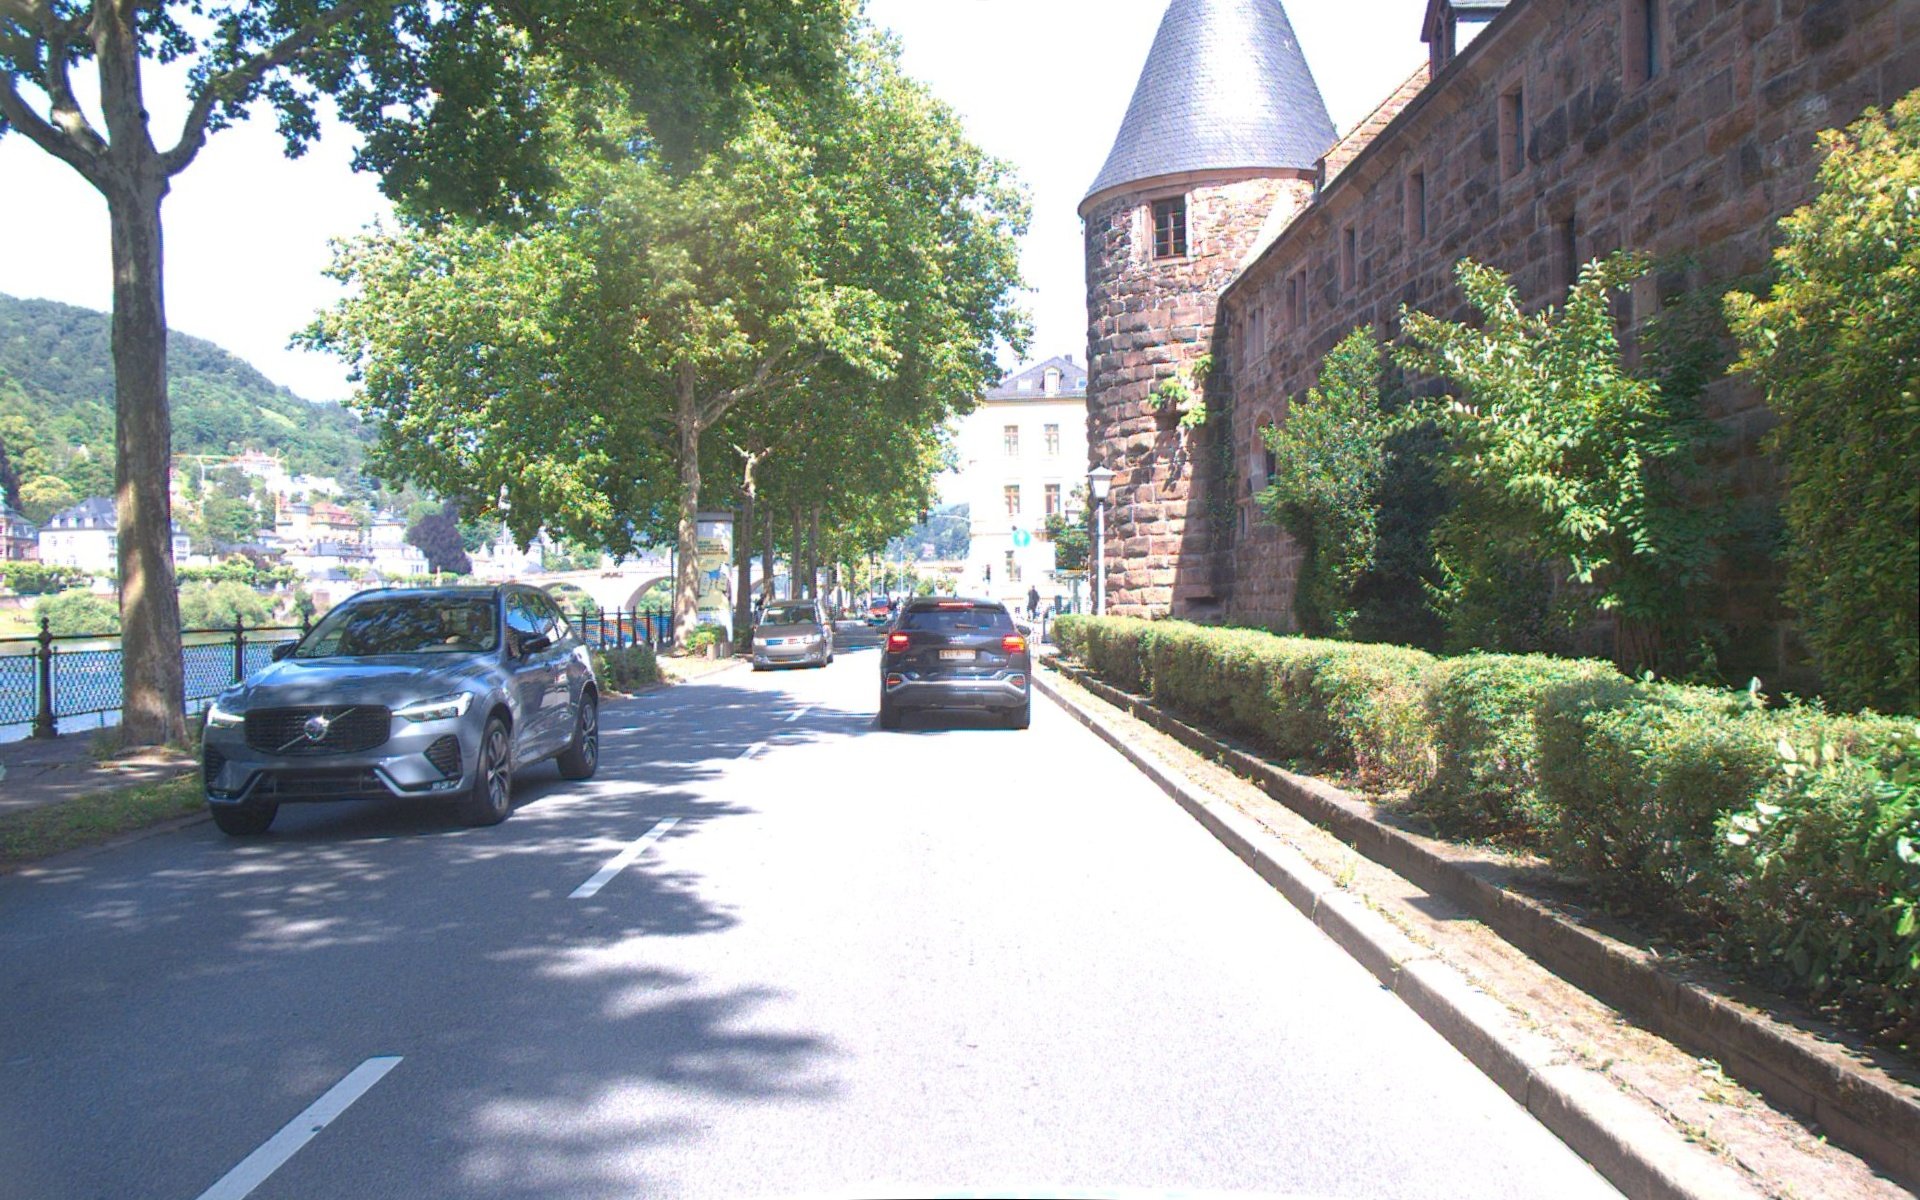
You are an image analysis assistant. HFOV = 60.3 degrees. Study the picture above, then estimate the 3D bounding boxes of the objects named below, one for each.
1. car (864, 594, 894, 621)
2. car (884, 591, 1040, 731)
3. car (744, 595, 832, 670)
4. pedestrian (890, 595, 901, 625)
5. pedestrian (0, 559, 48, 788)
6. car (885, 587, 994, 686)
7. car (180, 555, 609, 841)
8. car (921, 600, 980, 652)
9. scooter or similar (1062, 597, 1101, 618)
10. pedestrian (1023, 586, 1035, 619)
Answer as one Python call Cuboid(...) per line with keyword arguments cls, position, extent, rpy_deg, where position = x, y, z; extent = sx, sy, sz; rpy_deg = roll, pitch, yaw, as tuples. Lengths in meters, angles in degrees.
Cuboid(cls="car", position=(-4.938, 0.463, 100.929), extent=(1.581, 1.549, 3.477), rpy_deg=(-2, 0, 1))
Cuboid(cls="car", position=(-0.033, 0.677, 20.146), extent=(1.713, 1.521, 3.627), rpy_deg=(1, 0, -2))
Cuboid(cls="car", position=(-4.131, 0.751, 40.210), extent=(1.727, 1.676, 4.089), rpy_deg=(-2, 0, -1))
Cuboid(cls="pedestrian", position=(-3.663, 0.565, 94.195), extent=(0.507, 1.666, 0.438), rpy_deg=(-2, 0, -8))
Cuboid(cls="pedestrian", position=(-8.279, 0.616, 13.983), extent=(0.628, 1.903, 0.806), rpy_deg=(-2, 0, 0))
Cuboid(cls="car", position=(-0.349, 0.606, 29.302), extent=(1.764, 1.590, 3.715), rpy_deg=(-2, 0, 0))
Cuboid(cls="car", position=(-3.999, 0.614, 12.510), extent=(1.839, 1.728, 4.257), rpy_deg=(-2, 0, -2))
Cuboid(cls="car", position=(-0.307, 0.791, 51.848), extent=(1.764, 1.549, 3.715), rpy_deg=(0, 0, -1))
Cuboid(cls="scooter or similar", position=(5.724, 0.351, 77.827), extent=(1.808, 0.980, 0.429), rpy_deg=(1, -1, -2))
Cuboid(cls="pedestrian", position=(3.551, 0.130, 84.995), extent=(0.545, 1.661, 0.660), rpy_deg=(1, -1, 0))
